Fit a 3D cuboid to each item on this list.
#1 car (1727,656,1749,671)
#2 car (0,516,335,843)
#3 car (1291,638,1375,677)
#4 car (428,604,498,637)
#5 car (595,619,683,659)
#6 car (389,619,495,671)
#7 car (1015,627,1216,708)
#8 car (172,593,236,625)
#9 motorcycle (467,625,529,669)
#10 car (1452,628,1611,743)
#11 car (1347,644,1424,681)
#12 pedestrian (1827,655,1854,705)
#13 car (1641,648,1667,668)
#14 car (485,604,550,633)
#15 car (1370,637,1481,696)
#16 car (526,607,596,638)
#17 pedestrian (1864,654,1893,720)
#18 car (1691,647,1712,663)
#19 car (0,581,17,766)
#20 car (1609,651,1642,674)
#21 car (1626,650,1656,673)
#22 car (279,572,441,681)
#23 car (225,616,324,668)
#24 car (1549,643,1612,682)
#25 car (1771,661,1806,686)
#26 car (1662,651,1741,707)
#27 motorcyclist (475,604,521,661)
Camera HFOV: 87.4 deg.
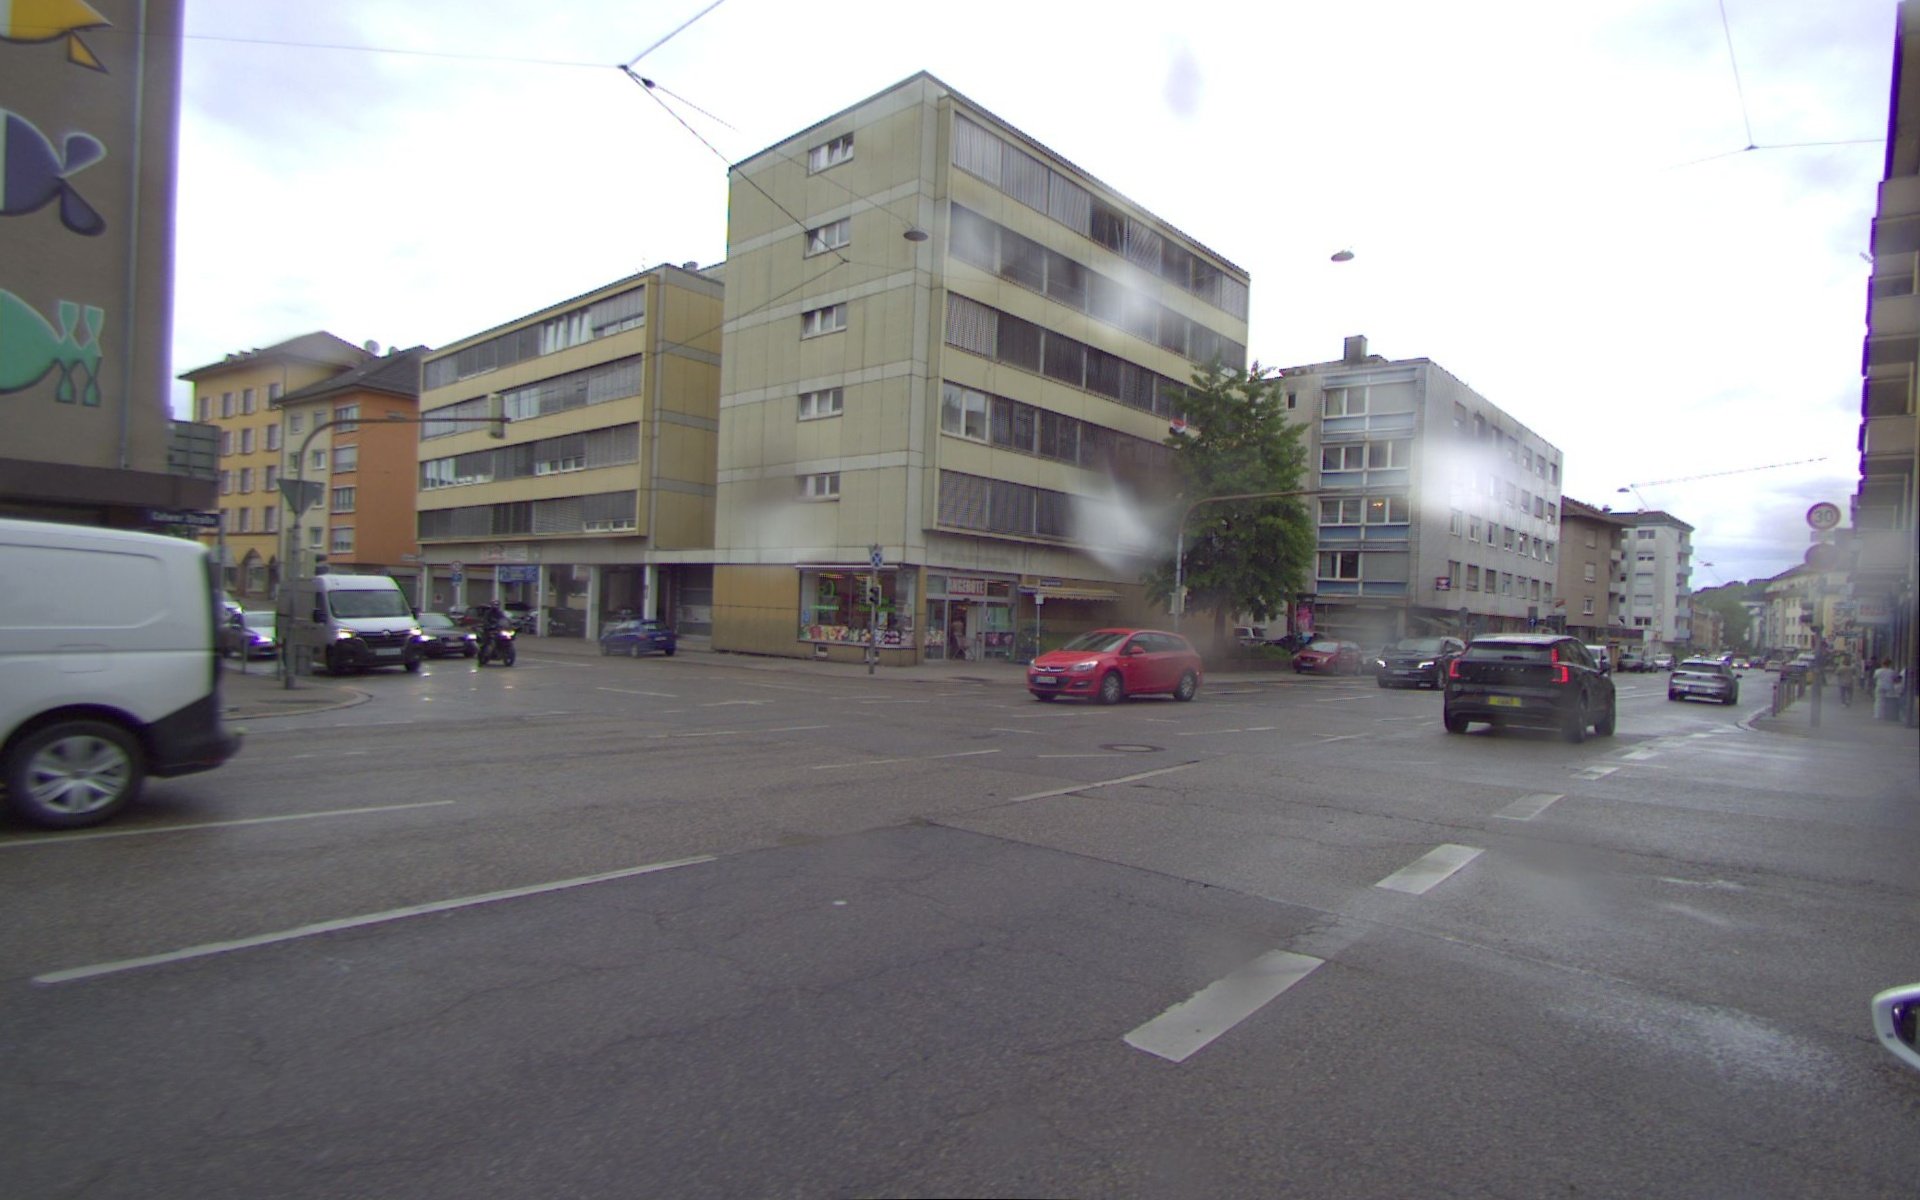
[{"bbox_3d":[107.901,8.800,139.301,2.104,1.879,4.208,0,-3,43],"label":"car"},{"bbox_3d":[-6.528,0.398,5.400,1.733,1.791,5.086,0,-2,43],"label":"car"},{"bbox_3d":[15.412,2.363,41.436,3.865,1.446,1.703,4,-1,-43],"label":"car"},{"bbox_3d":[-25.507,1.006,51.496,4.307,1.588,1.840,0,0,43],"label":"car"},{"bbox_3d":[-12.711,1.497,39.719,3.519,1.438,1.840,0,0,43],"label":"car"},{"bbox_3d":[-16.142,1.361,31.228,3.519,1.438,1.840,0,0,43],"label":"car"},{"bbox_3d":[3.261,1.337,20.409,1.684,1.442,4.555,0,-3,44],"label":"car"},{"bbox_3d":[-36.077,0.422,47.929,3.519,1.438,1.840,0,0,43],"label":"car"},{"bbox_3d":[-12.552,1.263,27.284,1.774,1.114,0.875,0,-2,42],"label":"motorcycle"},{"bbox_3d":[9.075,1.257,15.793,1.771,1.530,3.987,0,-2,36],"label":"car"},{"bbox_3d":[18.946,2.764,44.661,3.865,1.446,1.703,4,-1,-43],"label":"car"},{"bbox_3d":[30.866,2.795,35.228,0.648,1.696,0.700,2,-1,40],"label":"pedestrian"},{"bbox_3d":[69.305,5.788,100.285,1.960,1.879,4.214,0,-3,38],"label":"car"},{"bbox_3d":[-25.646,1.053,58.126,4.306,1.588,1.840,0,0,42],"label":"car"},{"bbox_3d":[15.228,2.147,32.757,1.964,1.725,4.545,0,-3,43],"label":"car"},{"bbox_3d":[-21.667,1.178,54.522,4.306,1.588,1.840,0,0,42],"label":"car"},{"bbox_3d":[24.336,2.303,26.608,0.492,1.696,0.555,2,-1,40],"label":"pedestrian"},{"bbox_3d":[91.816,6.801,124.422,1.960,1.879,4.214,0,-3,38],"label":"car"},{"bbox_3d":[-9.499,0.535,7.488,1.682,1.503,3.425,0,-2,41],"label":"car"},{"bbox_3d":[55.839,5.235,84.227,1.960,1.879,4.214,0,-3,38],"label":"car"},{"bbox_3d":[60.200,5.424,88.777,1.960,1.879,4.214,0,-3,38],"label":"car"},{"bbox_3d":[-15.742,0.644,26.215,5.394,2.557,2.220,0,0,43],"label":"car"},{"bbox_3d":[-21.565,1.274,31.566,3.519,1.498,1.840,0,1,43],"label":"car"},{"bbox_3d":[32.111,3.240,51.970,1.964,1.879,4.206,0,-3,44],"label":"car"},{"bbox_3d":[62.930,5.548,76.291,1.961,1.725,4.551,2,-1,40],"label":"car"},{"bbox_3d":[26.172,2.733,35.385,1.961,1.725,4.551,2,-1,40],"label":"car"},{"bbox_3d":[-12.564,0.878,27.308,0.785,1.499,0.875,0,-2,42],"label":"motorcyclist"}]
